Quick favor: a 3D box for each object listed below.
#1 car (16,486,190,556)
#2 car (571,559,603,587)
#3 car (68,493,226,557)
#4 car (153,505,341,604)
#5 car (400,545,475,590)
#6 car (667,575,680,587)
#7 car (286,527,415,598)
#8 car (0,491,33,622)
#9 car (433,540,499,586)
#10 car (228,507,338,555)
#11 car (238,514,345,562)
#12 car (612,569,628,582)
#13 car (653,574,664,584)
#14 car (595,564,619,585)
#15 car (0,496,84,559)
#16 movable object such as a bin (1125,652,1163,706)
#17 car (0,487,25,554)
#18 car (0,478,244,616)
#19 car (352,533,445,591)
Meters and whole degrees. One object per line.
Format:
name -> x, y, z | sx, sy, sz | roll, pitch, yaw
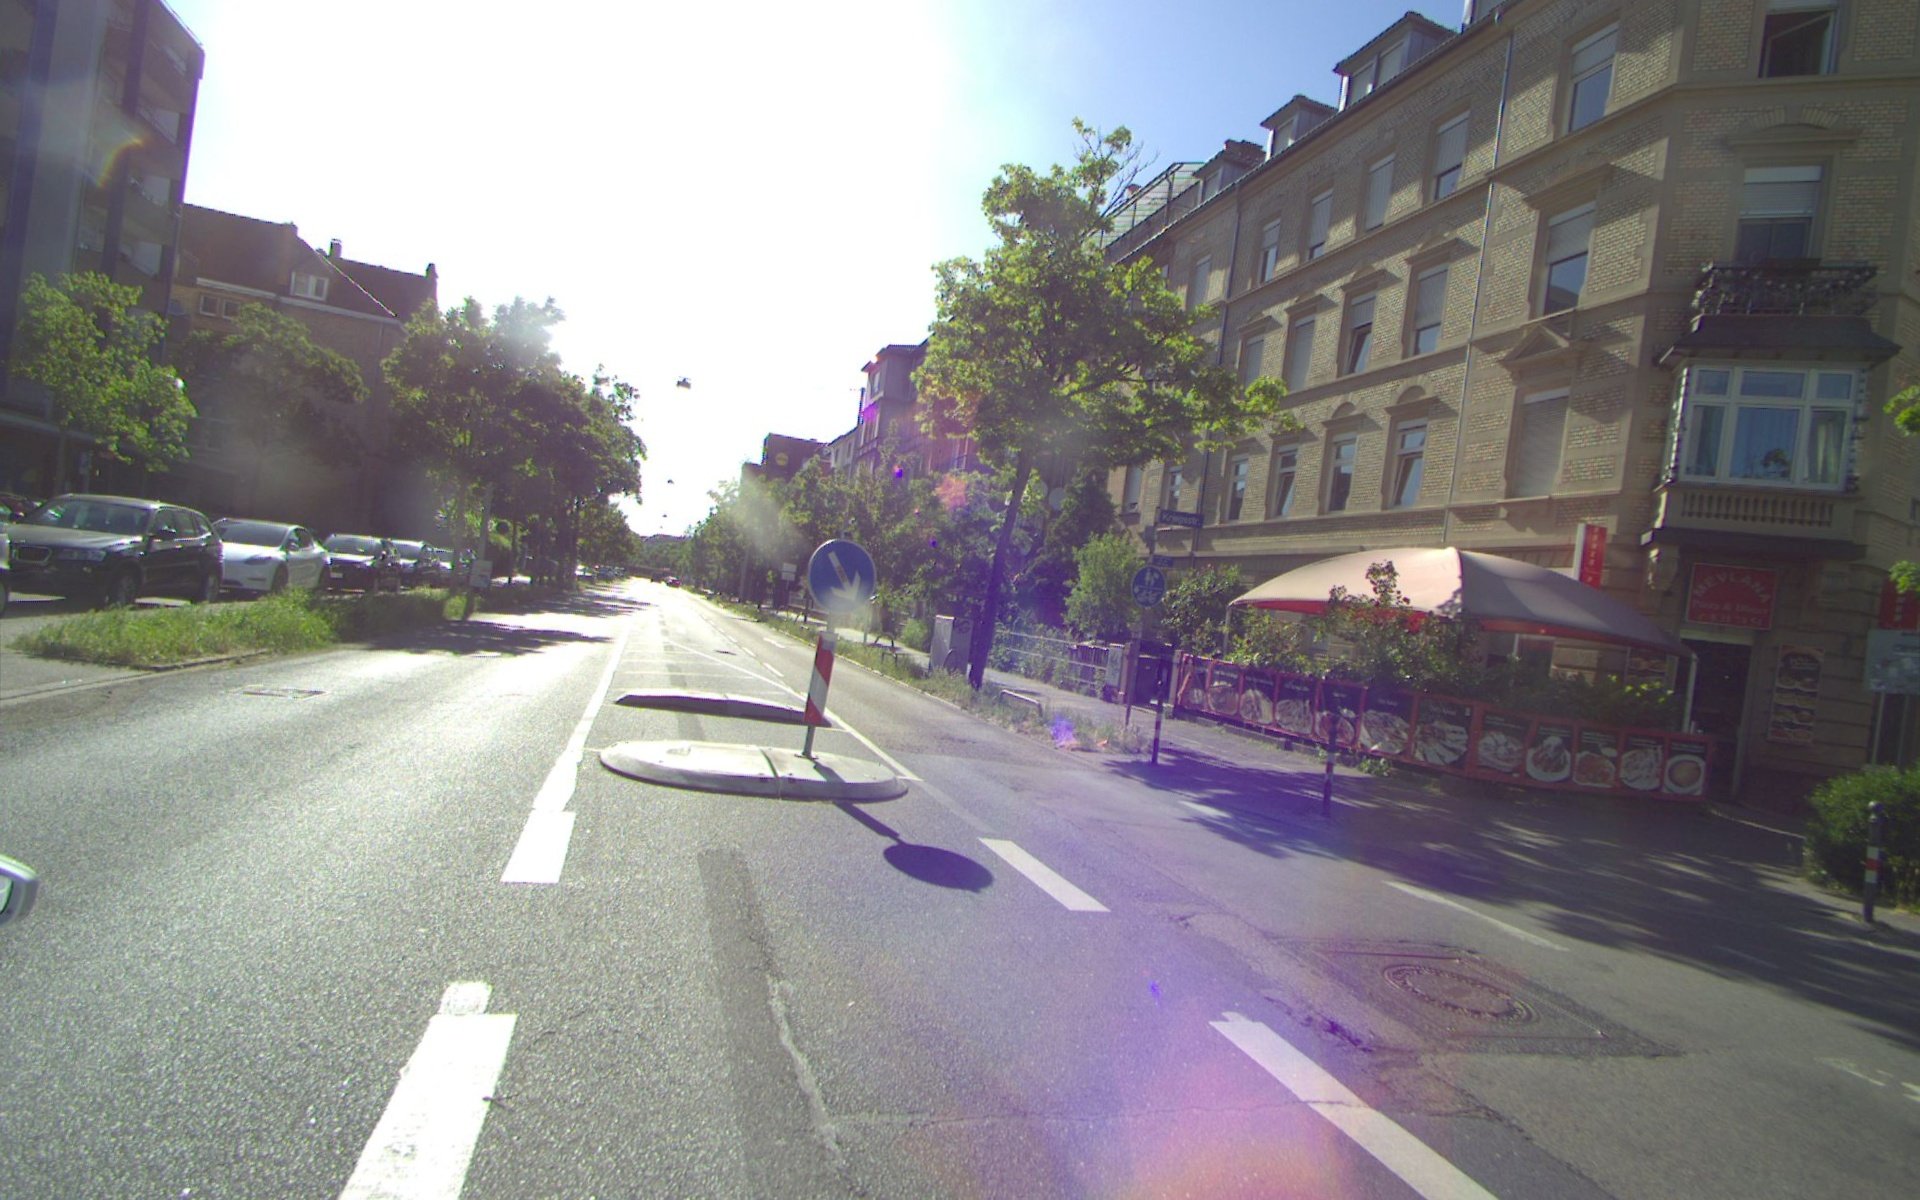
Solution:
car -> -28.509, -2.584, 33.607 | 3.946, 1.649, 1.679 | 8, 0, -21
car -> -32.203, -2.319, 86.872 | 1.969, 2.038, 4.192 | 7, 0, -15
car -> -29.162, -2.654, 36.226 | 3.946, 1.649, 1.679 | 8, 0, -21
car -> -14.972, -0.920, 21.433 | 1.866, 1.683, 4.513 | 5, 0, -18
car -> -19.947, -1.235, 38.527 | 1.734, 1.415, 3.985 | 7, -1, -17
car -> -48.402, -3.283, 170.116 | 1.928, 1.729, 3.986 | 7, 0, -16
car -> -16.472, -0.988, 27.417 | 1.840, 1.607, 3.987 | 6, 0, -15
car -> -11.620, -0.560, 10.354 | 1.700, 1.537, 3.516 | 7, 0, -20
car -> -21.084, -1.562, 43.079 | 1.742, 1.666, 3.985 | 7, -1, -17
car -> -32.338, -3.264, 48.187 | 3.946, 1.649, 1.679 | 8, 0, -21
car -> -33.225, -3.053, 50.114 | 3.945, 1.791, 1.877 | 8, 0, -21
car -> -54.060, -3.925, 159.989 | 1.969, 1.716, 3.988 | 7, 0, -15
car -> -59.283, -4.149, 197.710 | 1.737, 1.805, 3.986 | 7, 0, -16
car -> -39.432, -2.814, 112.507 | 2.036, 2.038, 4.614 | 7, 0, -15
car -> -25.887, -2.086, 26.386 | 3.946, 1.442, 1.679 | 8, 0, -21
movable object such as a bin -> 4.265, 1.823, 23.322 | 0.562, 1.147, 0.550 | 7, 0, -17
car -> -25.253, -2.188, 23.886 | 3.946, 1.627, 1.833 | 8, 0, -21
car -> -12.801, -0.769, 15.107 | 1.846, 1.647, 4.489 | 7, 0, -16
car -> -18.222, -1.220, 32.843 | 1.731, 1.572, 3.985 | 7, 0, -17
